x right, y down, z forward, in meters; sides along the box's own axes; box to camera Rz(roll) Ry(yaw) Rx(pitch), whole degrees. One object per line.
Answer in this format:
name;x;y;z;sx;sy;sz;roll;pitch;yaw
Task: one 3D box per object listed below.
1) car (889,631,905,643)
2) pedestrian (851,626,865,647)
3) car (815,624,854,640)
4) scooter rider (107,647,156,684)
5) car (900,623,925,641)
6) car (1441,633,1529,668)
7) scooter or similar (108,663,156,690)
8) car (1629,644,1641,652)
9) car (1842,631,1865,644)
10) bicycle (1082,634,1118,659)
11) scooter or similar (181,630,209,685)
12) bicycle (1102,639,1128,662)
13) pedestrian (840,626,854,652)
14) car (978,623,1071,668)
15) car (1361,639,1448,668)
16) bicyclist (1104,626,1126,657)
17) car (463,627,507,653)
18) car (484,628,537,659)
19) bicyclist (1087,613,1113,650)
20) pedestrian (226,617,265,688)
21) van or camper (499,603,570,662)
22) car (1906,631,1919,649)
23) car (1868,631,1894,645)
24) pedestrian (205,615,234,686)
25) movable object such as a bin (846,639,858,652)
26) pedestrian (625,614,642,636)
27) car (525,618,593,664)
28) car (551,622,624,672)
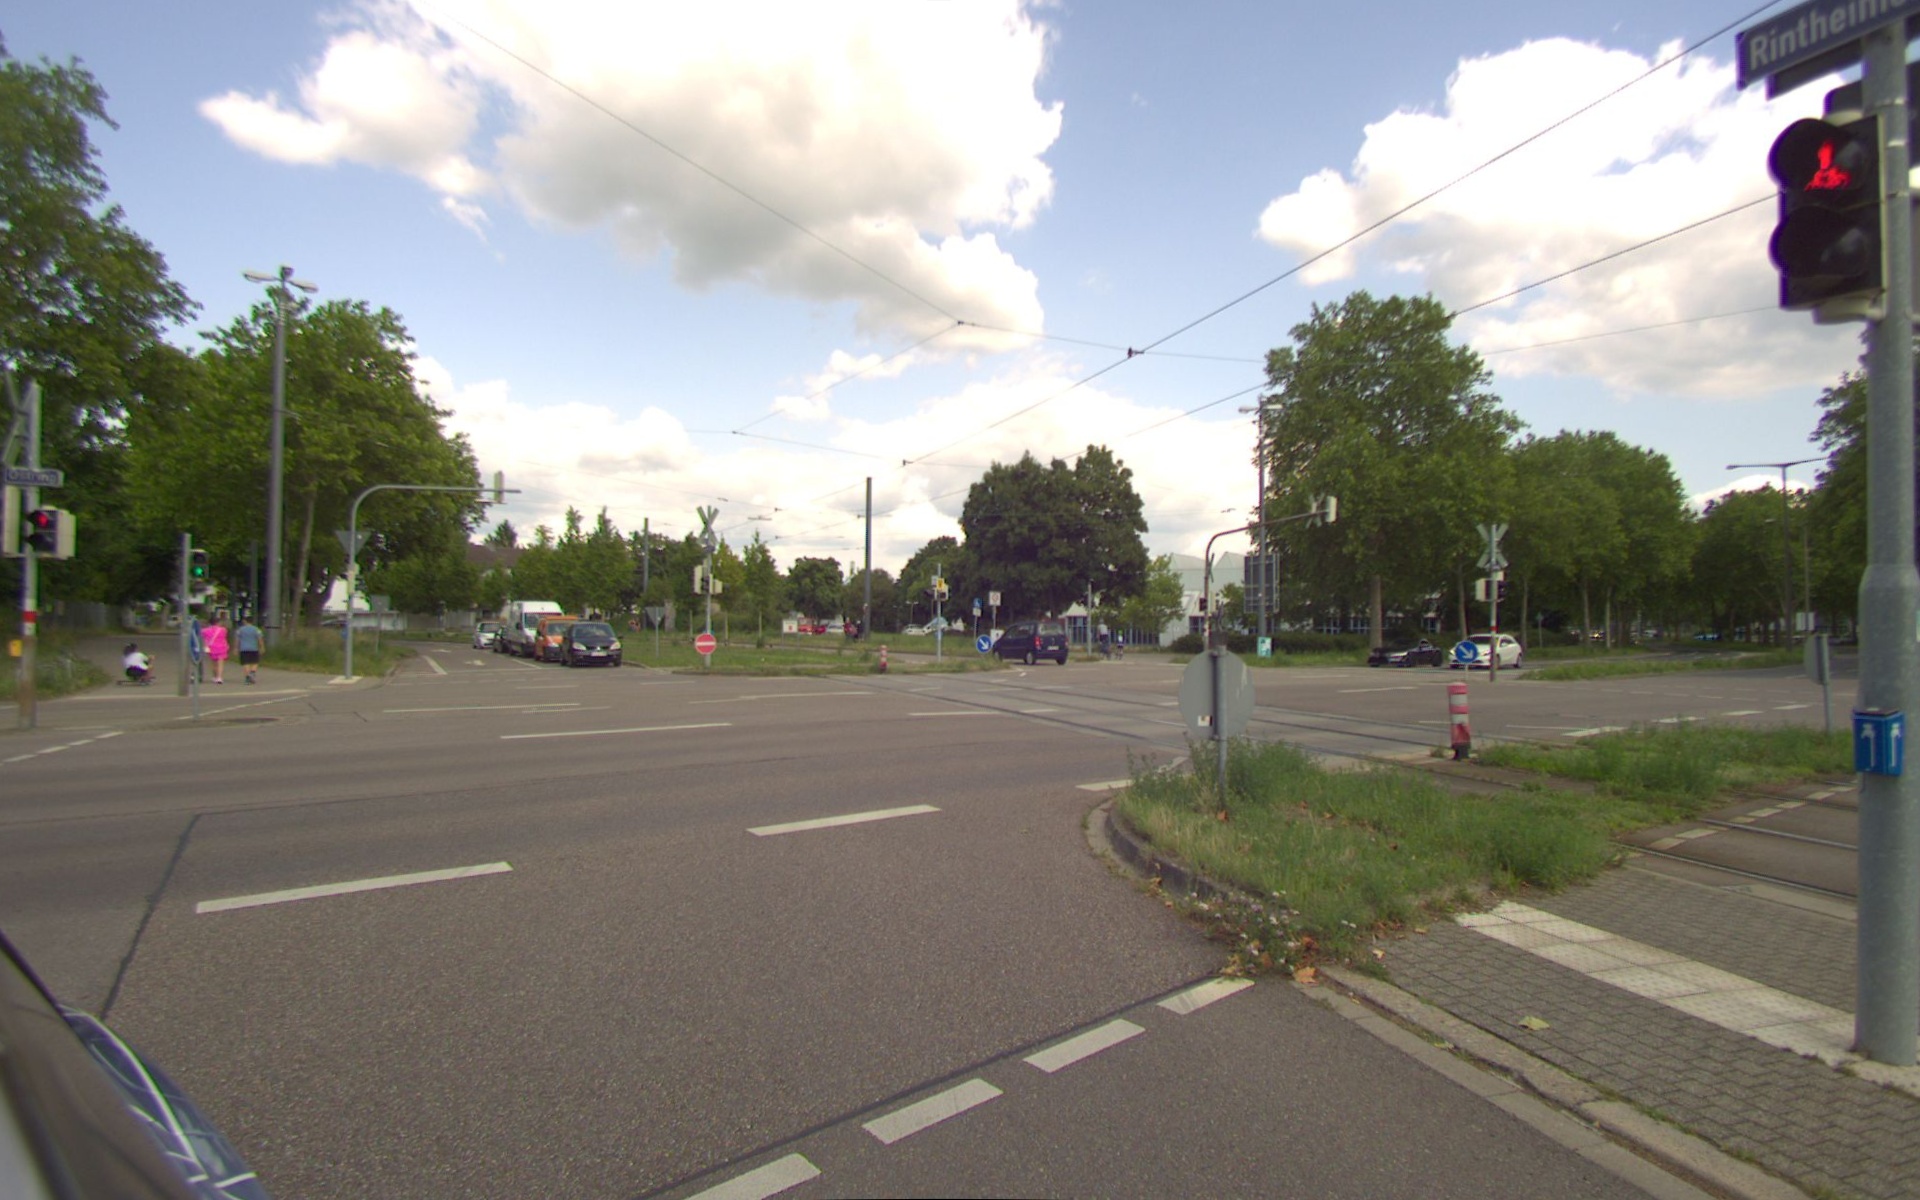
car;-9.046;5.326;145.495;1.968;1.652;4.397;0;-2;-7
pedestrian;-6.815;2.409;67.494;0.640;1.364;0.754;-1;-1;-33
car;-12.862;3.255;103.492;3.937;1.542;2.003;0;-2;-7
scooter rider;-18.083;1.420;22.114;0.601;0.734;0.862;-1;-1;-23
car;-4.418;2.921;93.120;1.968;1.652;4.397;0;-2;-7
car;21.616;2.049;41.627;4.073;1.375;1.834;2;-2;-41
scooter or similar;-18.082;1.662;22.118;0.601;0.515;0.860;-1;-1;-23
car;107.969;7.646;161.877;1.636;1.201;3.664;-1;-2;34
car;116.605;4.897;132.095;1.998;1.586;3.947;-2;-1;39
bicycle;6.528;2.161;47.286;0.935;1.163;1.990;1;-2;-17
scooter or similar;-17.749;1.325;23.496;0.316;1.241;0.778;-1;-1;-22
bicycle;7.590;2.474;49.662;0.938;1.048;1.984;0;-2;0
pedestrian;-7.392;2.519;65.918;0.638;1.657;0.604;-2;-1;43
car;2.456;1.732;39.329;1.697;1.629;4.012;1;-2;-29
car;19.202;2.276;43.676;3.645;1.201;1.645;1;-2;-32
bicyclist;7.586;2.013;49.583;0.950;1.500;0.836;0;-2;0
car;-27.953;2.343;59.499;1.781;1.442;4.395;1;-2;-32
car;-23.469;2.232;52.773;1.781;1.442;4.481;1;-1;-33
bicyclist;6.531;1.481;47.301;0.947;1.735;0.838;1;-2;-17
pedestrian;-16.703;1.221;23.680;0.622;1.631;0.612;0;-1;-24
van or camper;-19.921;1.545;47.200;1.949;2.544;6.053;2;-3;-33
car;94.374;3.894;99.276;1.998;1.586;3.947;-2;-1;39
car;109.575;4.494;120.420;1.998;1.586;3.947;-2;-1;39
pedestrian;-17.317;1.172;23.665;0.414;1.631;0.598;0;-1;-24
movable object such as a bin;-7.003;2.917;65.551;0.460;0.817;0.571;-2;-1;43
pedestrian;-30.259;2.320;93.791;1.177;2.029;1.091;-1;-2;43
car;-16.523;1.655;41.574;1.852;1.813;4.383;1;-2;-31
car;-13.305;1.631;36.008;1.706;1.643;4.064;1;-2;-31
